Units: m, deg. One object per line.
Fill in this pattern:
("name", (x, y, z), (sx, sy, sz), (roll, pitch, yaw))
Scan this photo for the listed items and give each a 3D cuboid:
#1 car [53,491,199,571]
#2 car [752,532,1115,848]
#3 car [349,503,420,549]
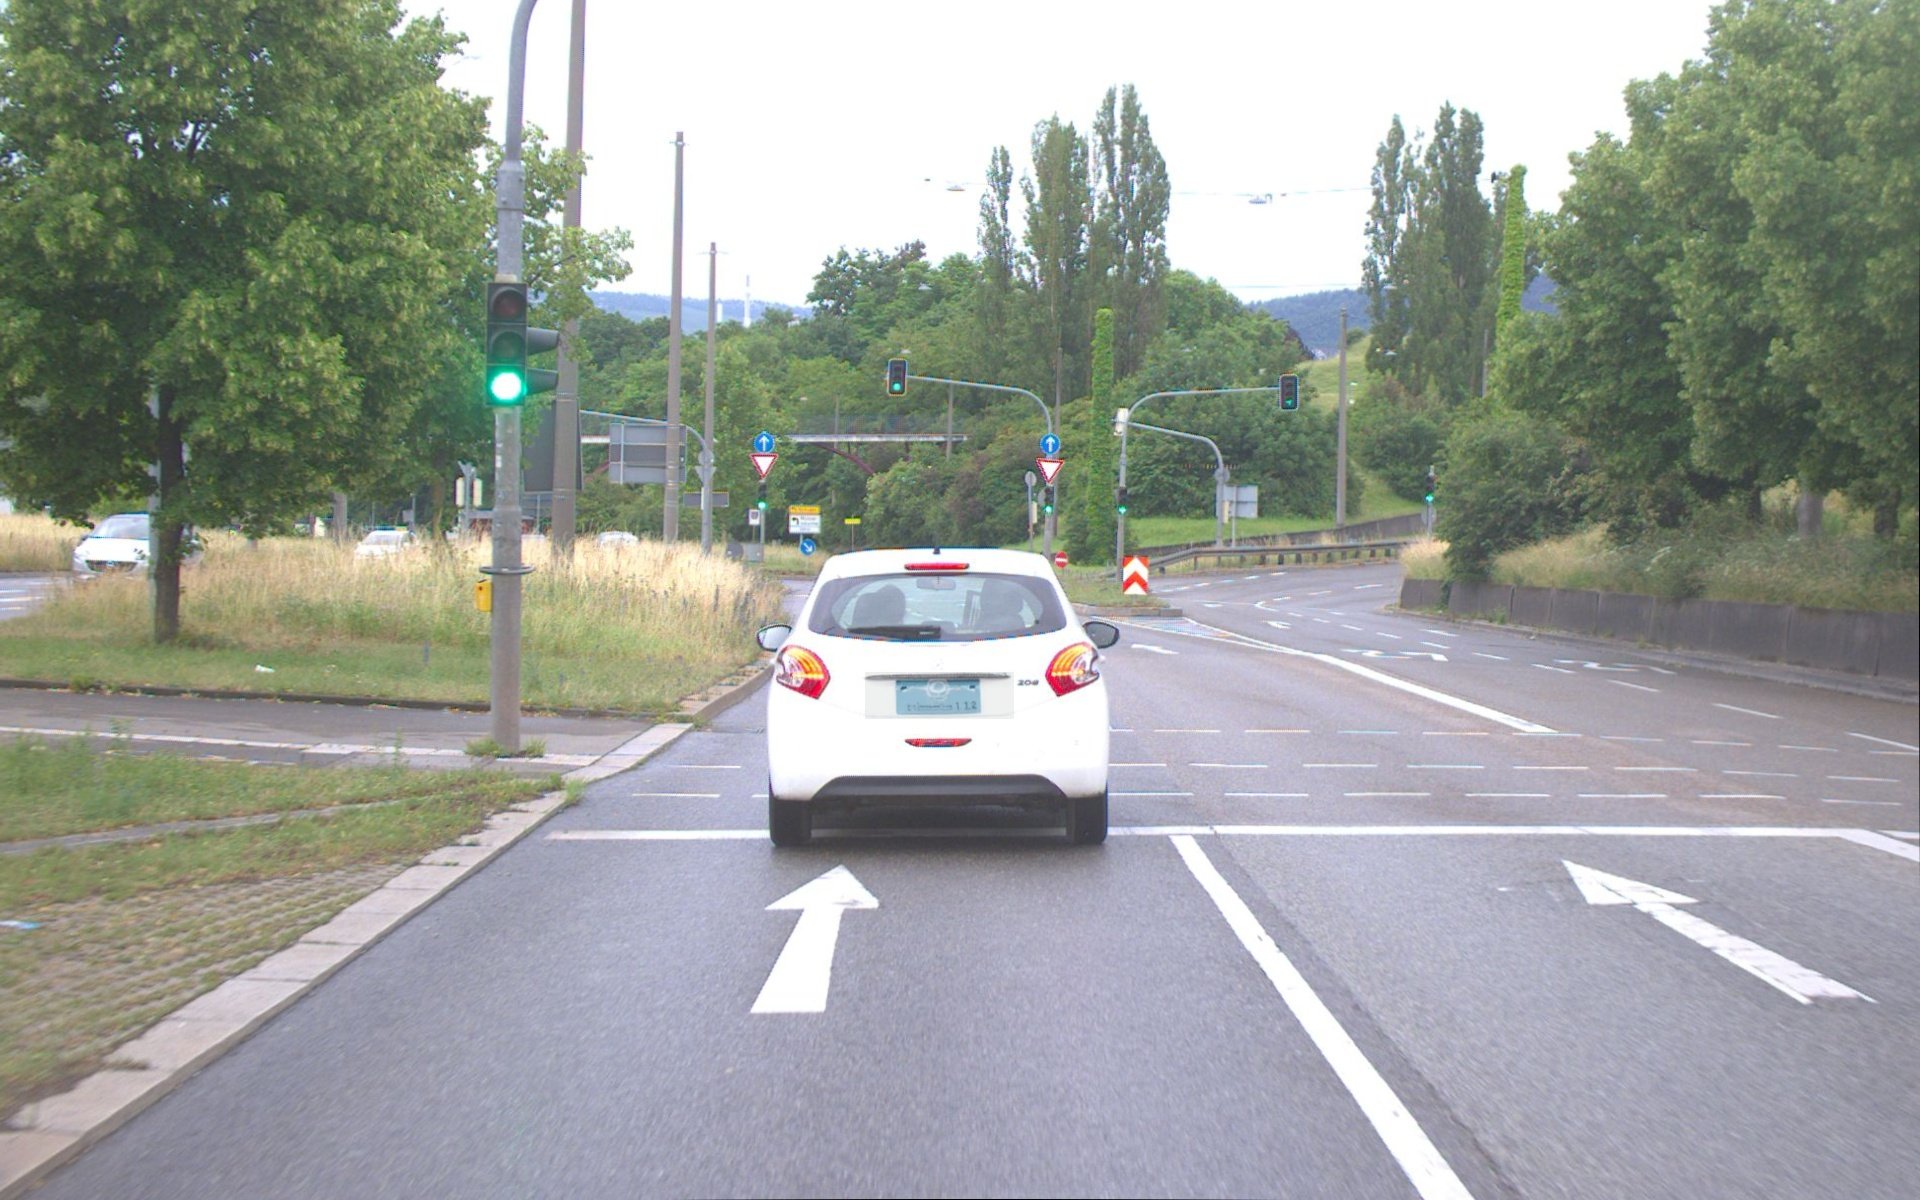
("car", (-15.288, -1.263, 63.190), (1.538, 1.384, 3.927), (2, 1, 2))
("car", (-0.137, 0.388, 18.056), (1.708, 1.435, 3.691), (0, 2, 0))
("car", (-21.585, -2.770, 129.081), (1.885, 1.606, 4.676), (2, 0, 0))
